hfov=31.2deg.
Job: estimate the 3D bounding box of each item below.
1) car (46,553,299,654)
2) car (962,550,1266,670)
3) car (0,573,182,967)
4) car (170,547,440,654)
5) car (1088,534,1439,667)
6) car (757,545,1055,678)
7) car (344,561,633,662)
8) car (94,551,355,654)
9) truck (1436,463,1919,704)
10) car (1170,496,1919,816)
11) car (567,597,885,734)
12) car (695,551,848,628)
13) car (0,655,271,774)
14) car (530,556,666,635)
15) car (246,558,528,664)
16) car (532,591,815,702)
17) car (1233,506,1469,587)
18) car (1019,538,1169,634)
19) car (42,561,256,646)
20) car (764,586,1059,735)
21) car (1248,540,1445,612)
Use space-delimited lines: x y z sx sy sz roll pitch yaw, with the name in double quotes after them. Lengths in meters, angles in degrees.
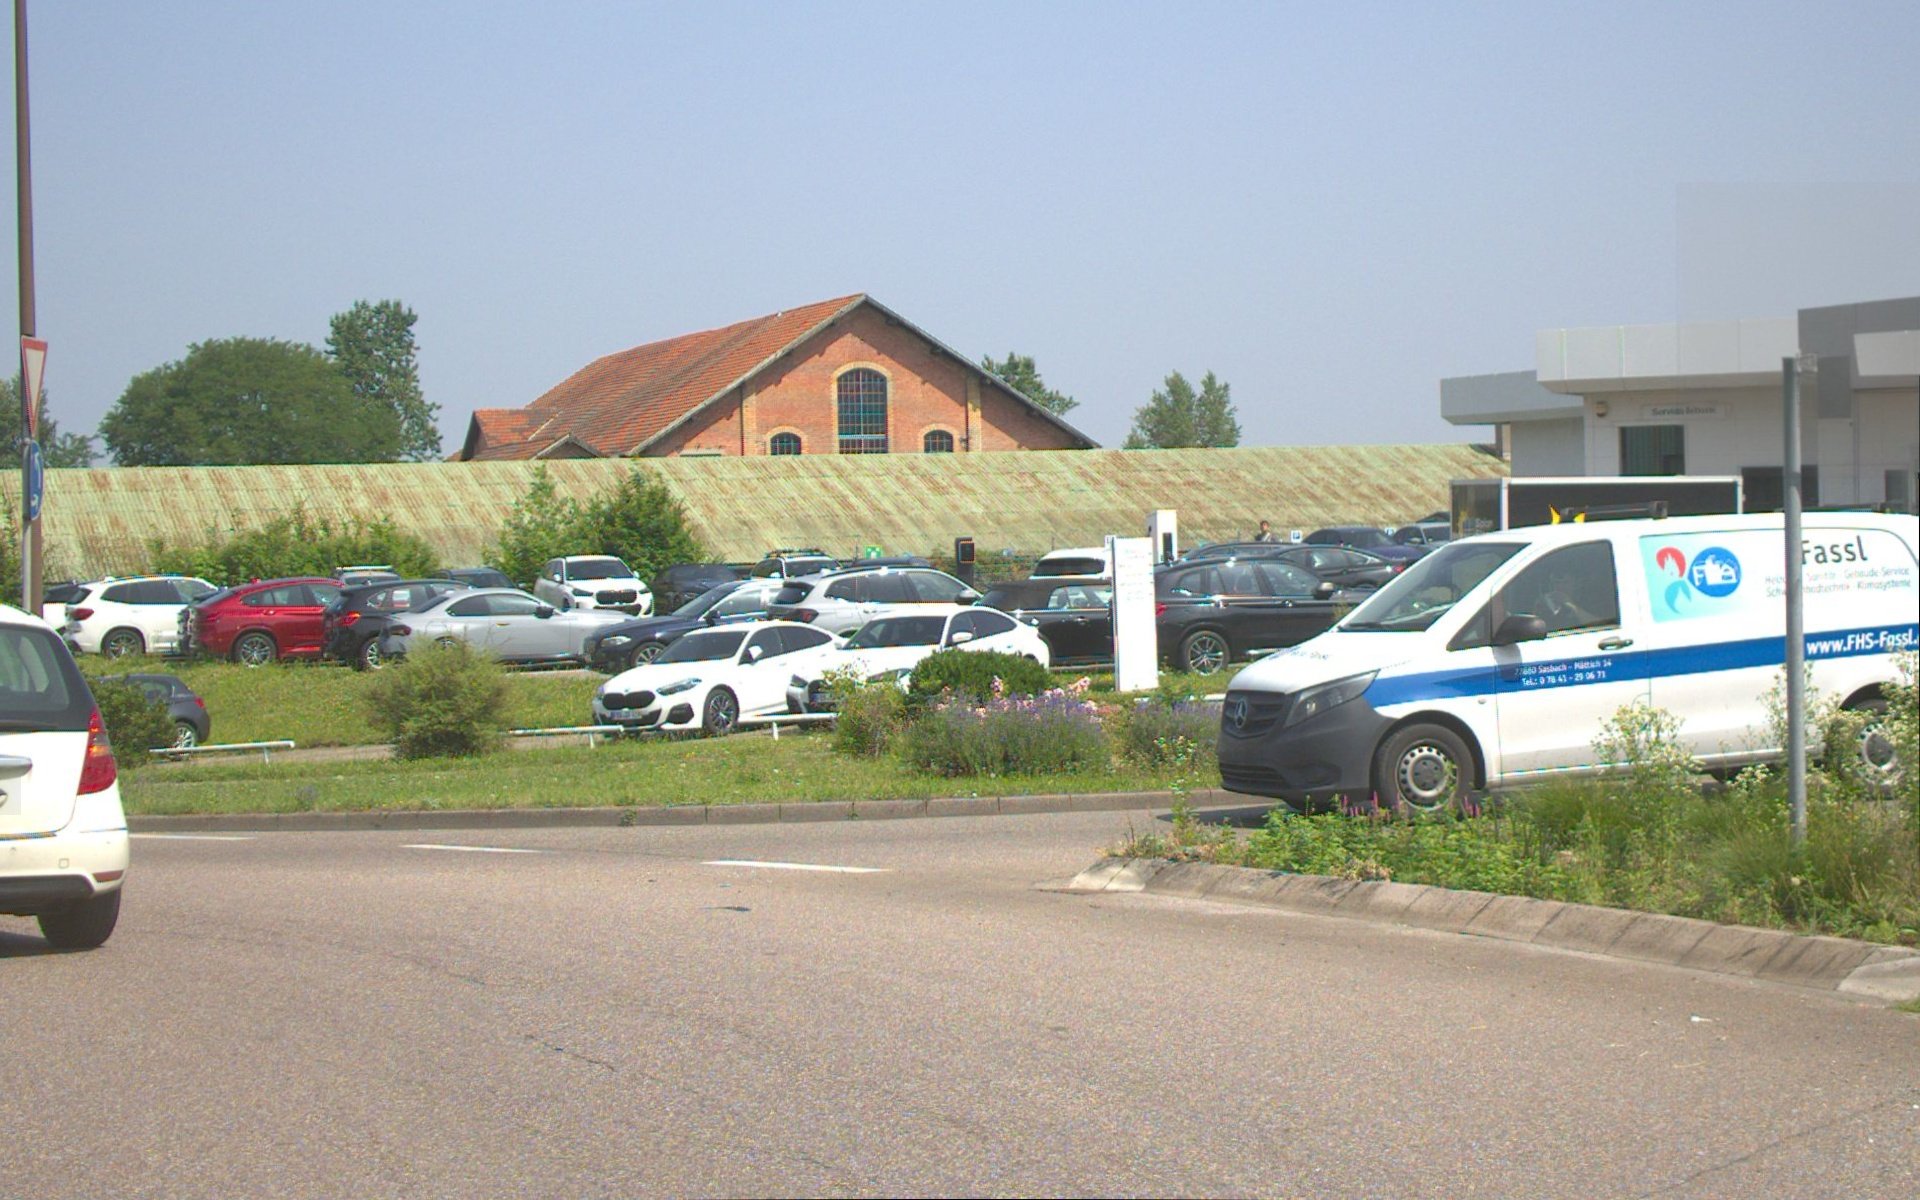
-15.160 0.053 66.196 4.452 1.741 1.839 -2 1 -22 "car"
2.286 0.115 51.067 3.995 1.494 1.950 -4 3 -22 "car"
-5.236 0.684 15.720 1.781 1.598 3.892 -1 2 -38 "car"
-11.842 -0.009 62.144 4.452 1.741 1.950 -2 1 -22 "car"
4.262 0.009 48.270 4.411 1.495 1.950 -5 1 -22 "car"
-0.828 0.159 52.014 3.995 1.744 1.950 -4 2 -22 "car"
-7.971 0.174 58.065 4.452 1.495 1.950 -2 1 -22 "car"
-13.728 0.035 64.136 4.452 1.741 1.839 -2 1 -22 "car"
8.772 -0.227 41.543 5.607 2.656 1.950 -2 1 -16 "truck"
4.164 0.336 22.532 5.211 1.931 1.861 -1 -1 -16 "car"
-3.095 0.856 46.442 1.766 1.565 4.569 -3 1 34 "car"
-4.224 -0.228 76.423 2.187 1.590 4.305 -2 1 -20 "car"
-12.766 1.726 51.898 1.781 1.416 4.564 -5 0 35 "car"
-7.885 -0.097 74.603 1.916 1.590 4.305 -2 1 -20 "car"
-9.935 0.180 59.610 4.452 1.629 1.950 -2 1 -22 "car"
-4.444 0.697 53.132 3.994 1.521 1.950 -2 1 -16 "car"
8.154 -1.115 71.782 4.452 1.517 1.950 -2 1 -17 "car"
2.438 -0.279 61.518 1.654 1.580 4.265 -2 1 17 "car"
-16.156 0.058 68.446 3.874 1.527 1.769 -2 1 -22 "car"
-0.571 0.759 45.292 1.765 1.565 4.659 -2 3 28 "car"
7.321 -0.454 65.270 3.340 1.271 1.654 -1 1 43 "car"
